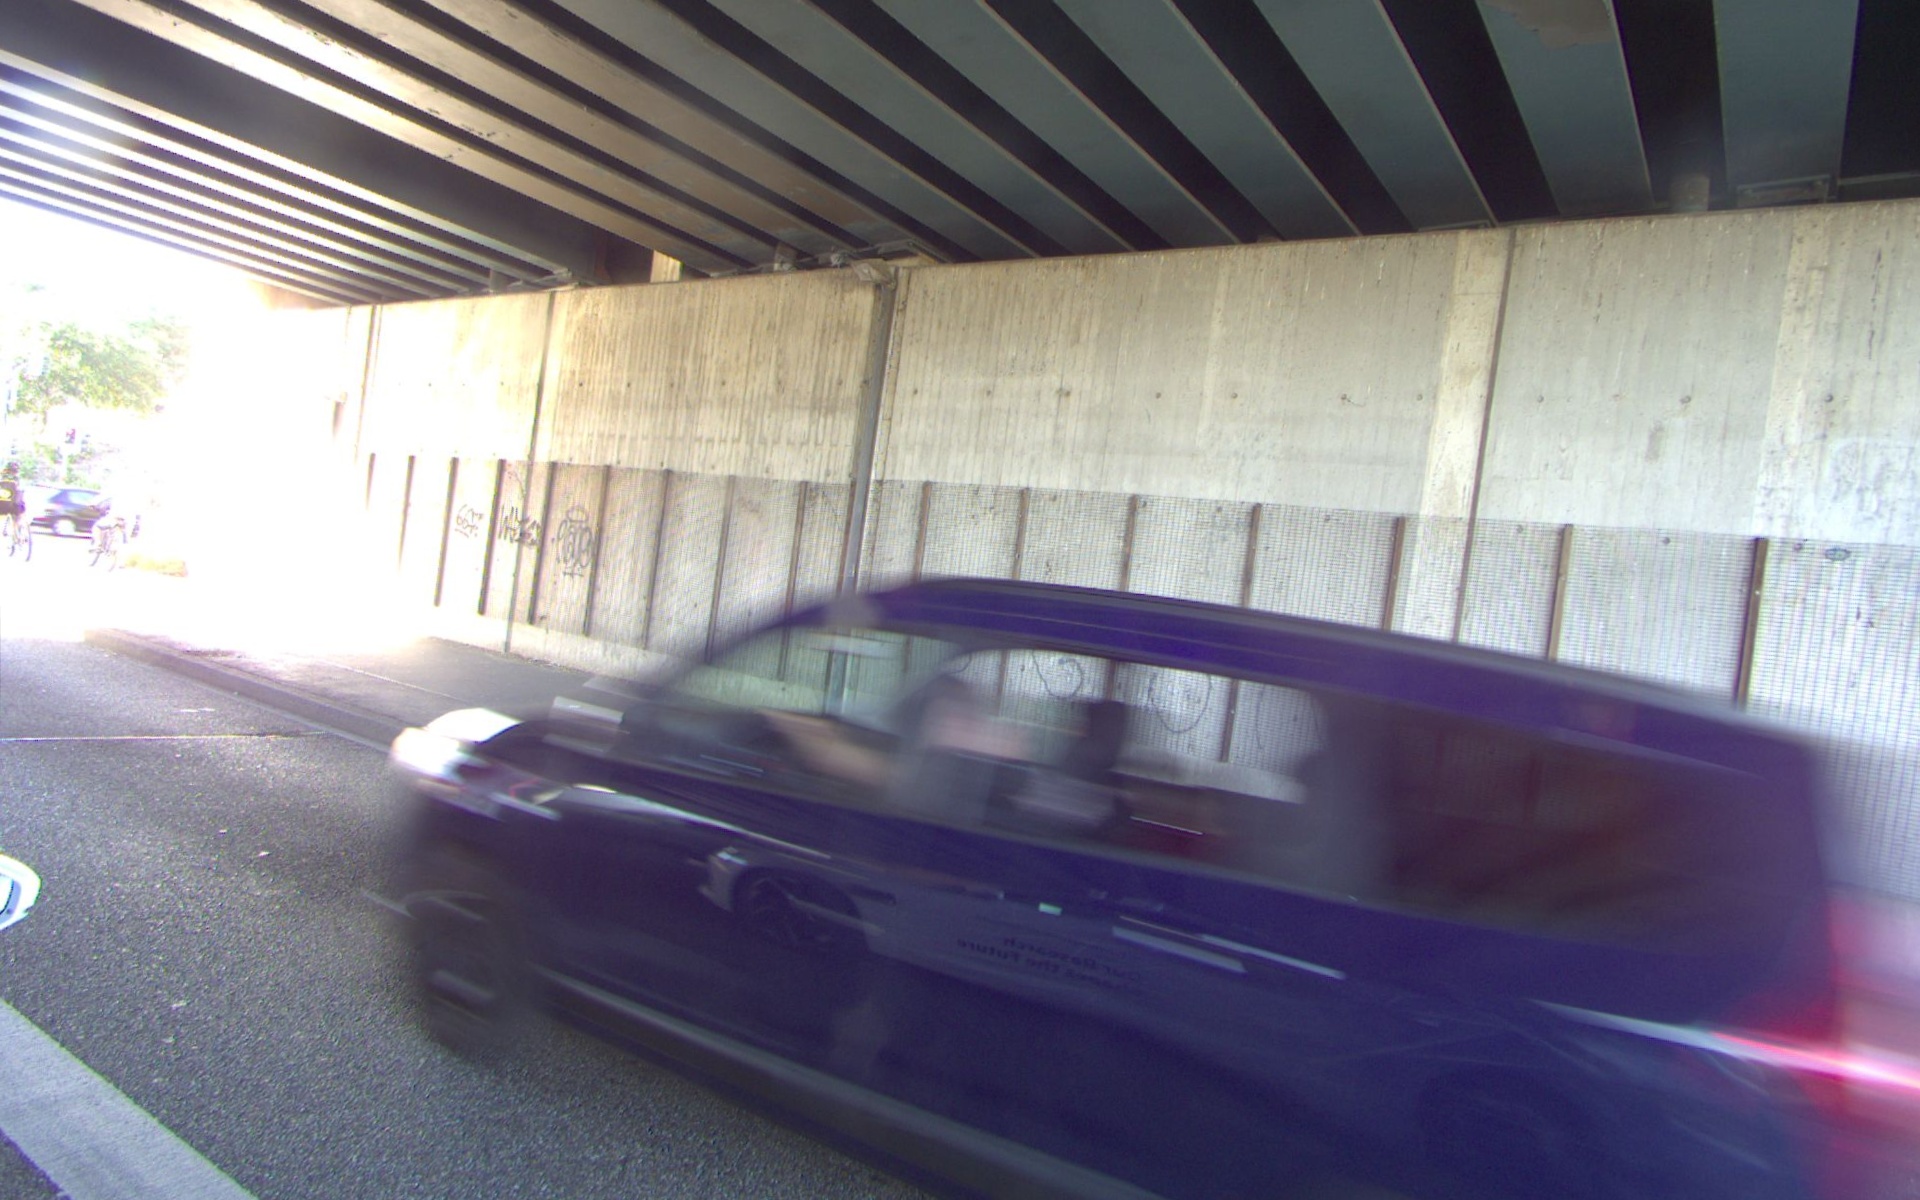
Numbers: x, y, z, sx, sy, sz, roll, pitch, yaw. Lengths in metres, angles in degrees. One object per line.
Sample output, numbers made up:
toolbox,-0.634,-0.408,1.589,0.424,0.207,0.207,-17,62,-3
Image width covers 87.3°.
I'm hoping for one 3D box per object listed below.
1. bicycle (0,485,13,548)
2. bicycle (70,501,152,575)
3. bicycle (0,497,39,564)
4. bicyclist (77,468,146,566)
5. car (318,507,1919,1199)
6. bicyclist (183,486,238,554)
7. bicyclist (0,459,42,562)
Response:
bicycle,-18.342,-1.607,18.583,0.645,1.181,1.767,7,-1,-27
bicycle,-14.719,-1.082,17.431,1.580,1.126,0.681,6,0,38
bicycle,-16.155,-1.200,16.986,1.508,1.036,0.676,6,-2,43
bicyclist,-14.744,-1.442,17.480,0.724,1.581,0.669,7,0,37
car,0.151,0.780,3.129,4.035,1.619,1.779,6,-2,29
bicyclist,-20.542,-2.182,27.604,0.737,1.675,0.884,7,-1,-12
bicyclist,-16.106,-1.519,16.984,0.635,1.647,0.676,6,-2,42
